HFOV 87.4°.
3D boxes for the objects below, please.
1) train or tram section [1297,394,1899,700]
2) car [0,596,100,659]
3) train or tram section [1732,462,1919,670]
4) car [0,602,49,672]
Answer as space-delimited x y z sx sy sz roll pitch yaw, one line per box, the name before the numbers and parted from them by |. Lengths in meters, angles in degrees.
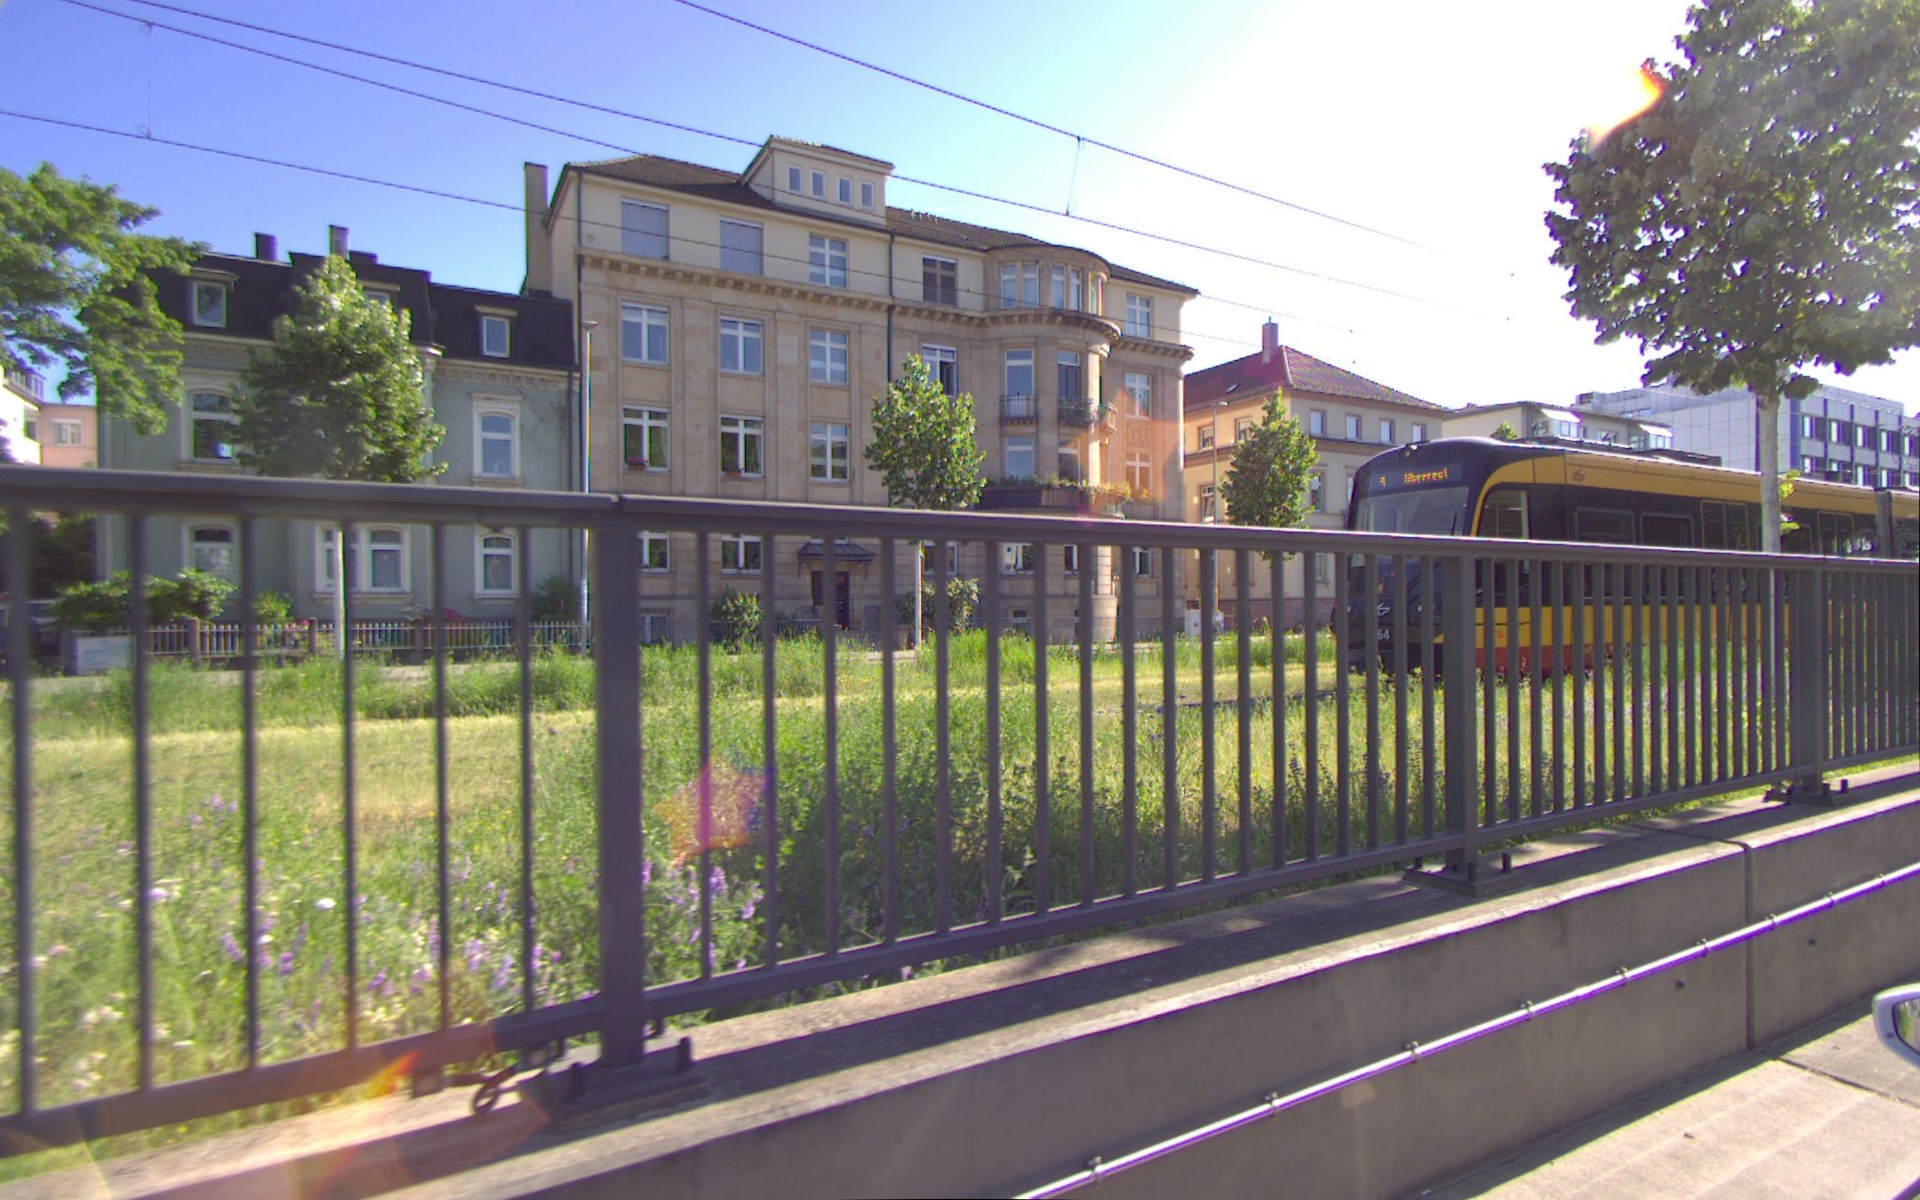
train or tram section | 11.202 -0.601 16.616 13.183 3.705 2.598 1 1 -30
car | -28.049 0.806 30.805 1.894 1.816 3.966 0 0 -31
train or tram section | 22.409 -0.596 23.211 12.938 3.872 2.597 1 1 -31
car | -25.614 0.932 26.263 1.894 1.750 3.966 0 0 -31
